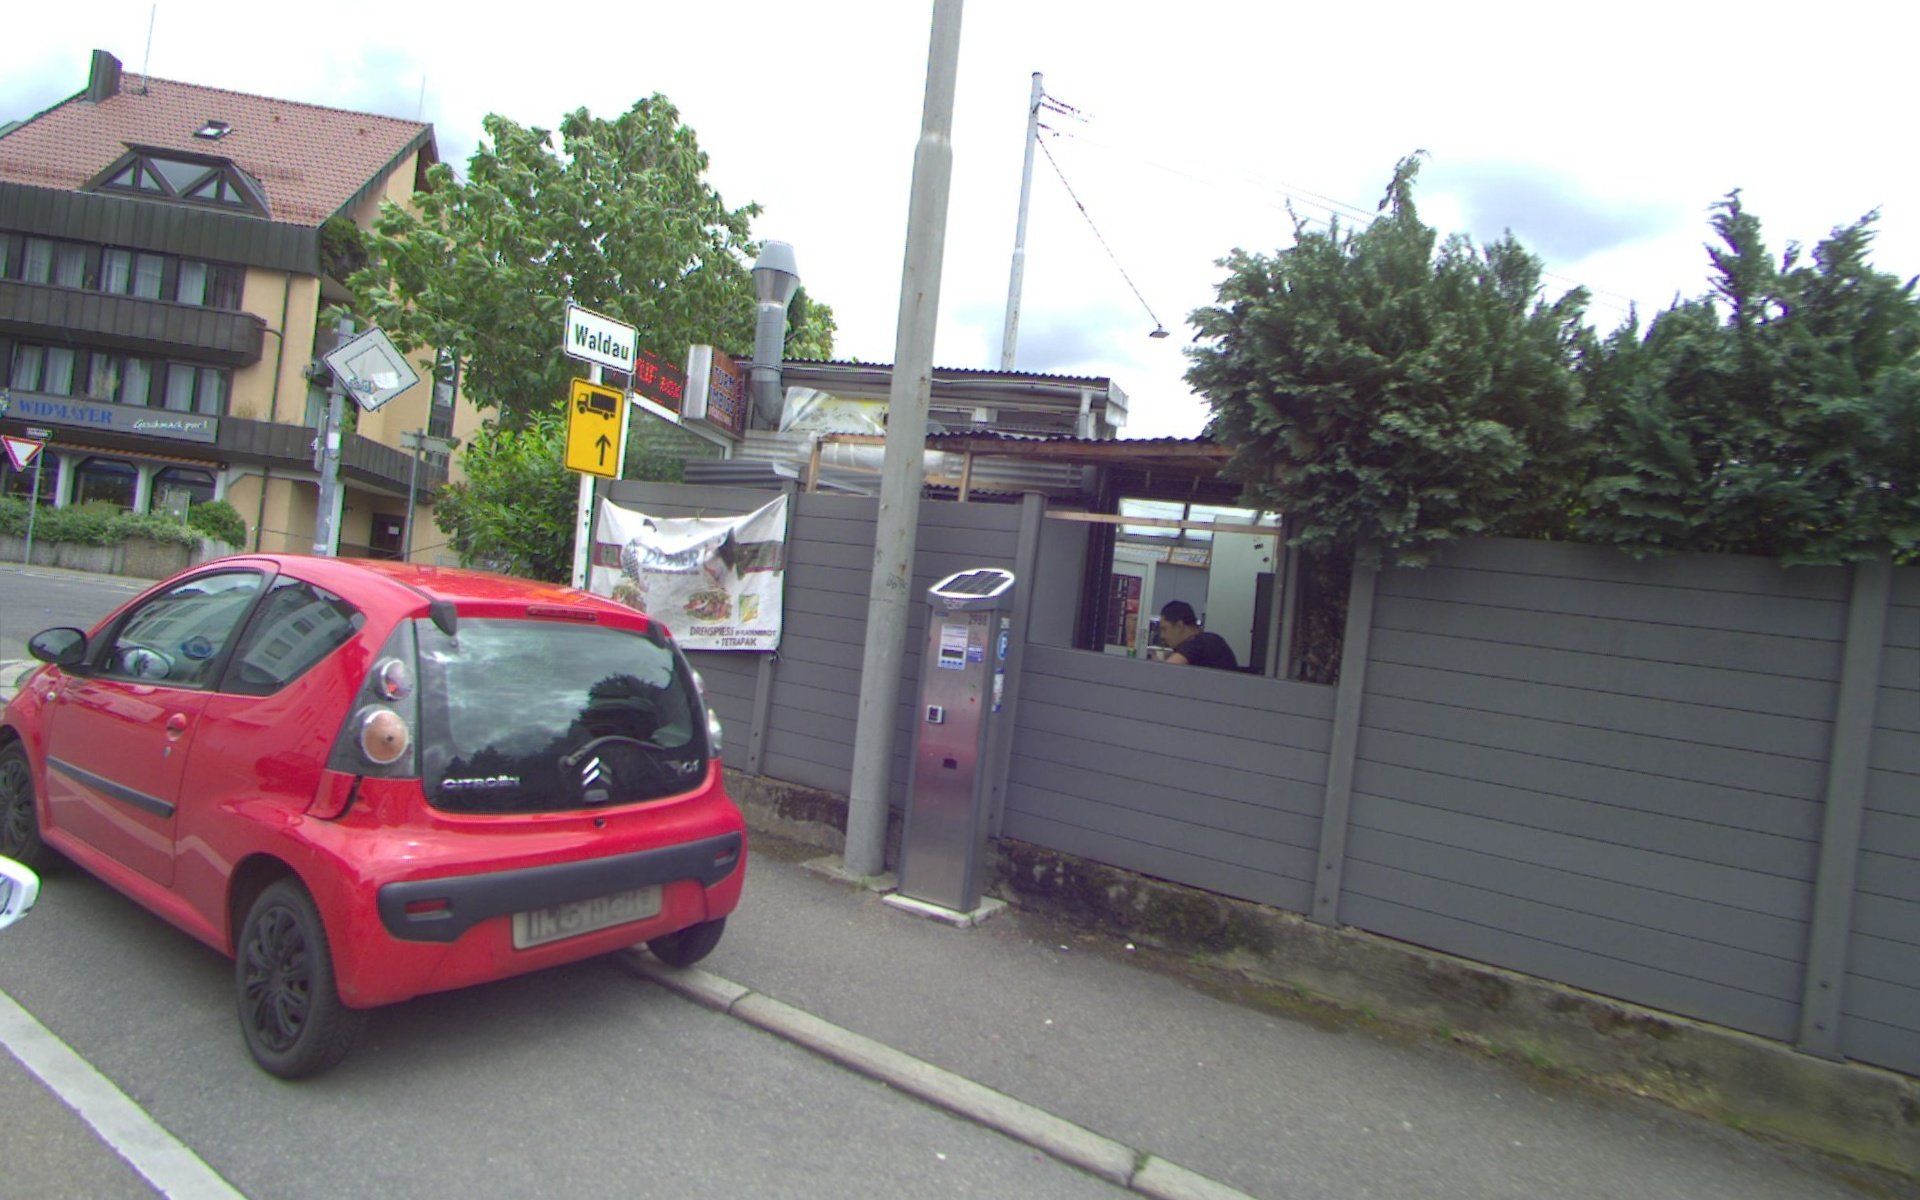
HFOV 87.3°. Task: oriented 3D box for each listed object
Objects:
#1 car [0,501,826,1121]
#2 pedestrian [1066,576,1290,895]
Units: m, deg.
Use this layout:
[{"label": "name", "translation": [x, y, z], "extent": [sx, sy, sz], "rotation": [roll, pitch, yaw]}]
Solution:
[{"label": "car", "translation": [-2.732, 0.494, 4.365], "extent": [3.934, 1.469, 1.761], "rotation": [6, -1, 32]}, {"label": "pedestrian", "translation": [1.241, 0.714, 5.601], "extent": [0.957, 1.516, 0.809], "rotation": [7, -2, 20]}]
